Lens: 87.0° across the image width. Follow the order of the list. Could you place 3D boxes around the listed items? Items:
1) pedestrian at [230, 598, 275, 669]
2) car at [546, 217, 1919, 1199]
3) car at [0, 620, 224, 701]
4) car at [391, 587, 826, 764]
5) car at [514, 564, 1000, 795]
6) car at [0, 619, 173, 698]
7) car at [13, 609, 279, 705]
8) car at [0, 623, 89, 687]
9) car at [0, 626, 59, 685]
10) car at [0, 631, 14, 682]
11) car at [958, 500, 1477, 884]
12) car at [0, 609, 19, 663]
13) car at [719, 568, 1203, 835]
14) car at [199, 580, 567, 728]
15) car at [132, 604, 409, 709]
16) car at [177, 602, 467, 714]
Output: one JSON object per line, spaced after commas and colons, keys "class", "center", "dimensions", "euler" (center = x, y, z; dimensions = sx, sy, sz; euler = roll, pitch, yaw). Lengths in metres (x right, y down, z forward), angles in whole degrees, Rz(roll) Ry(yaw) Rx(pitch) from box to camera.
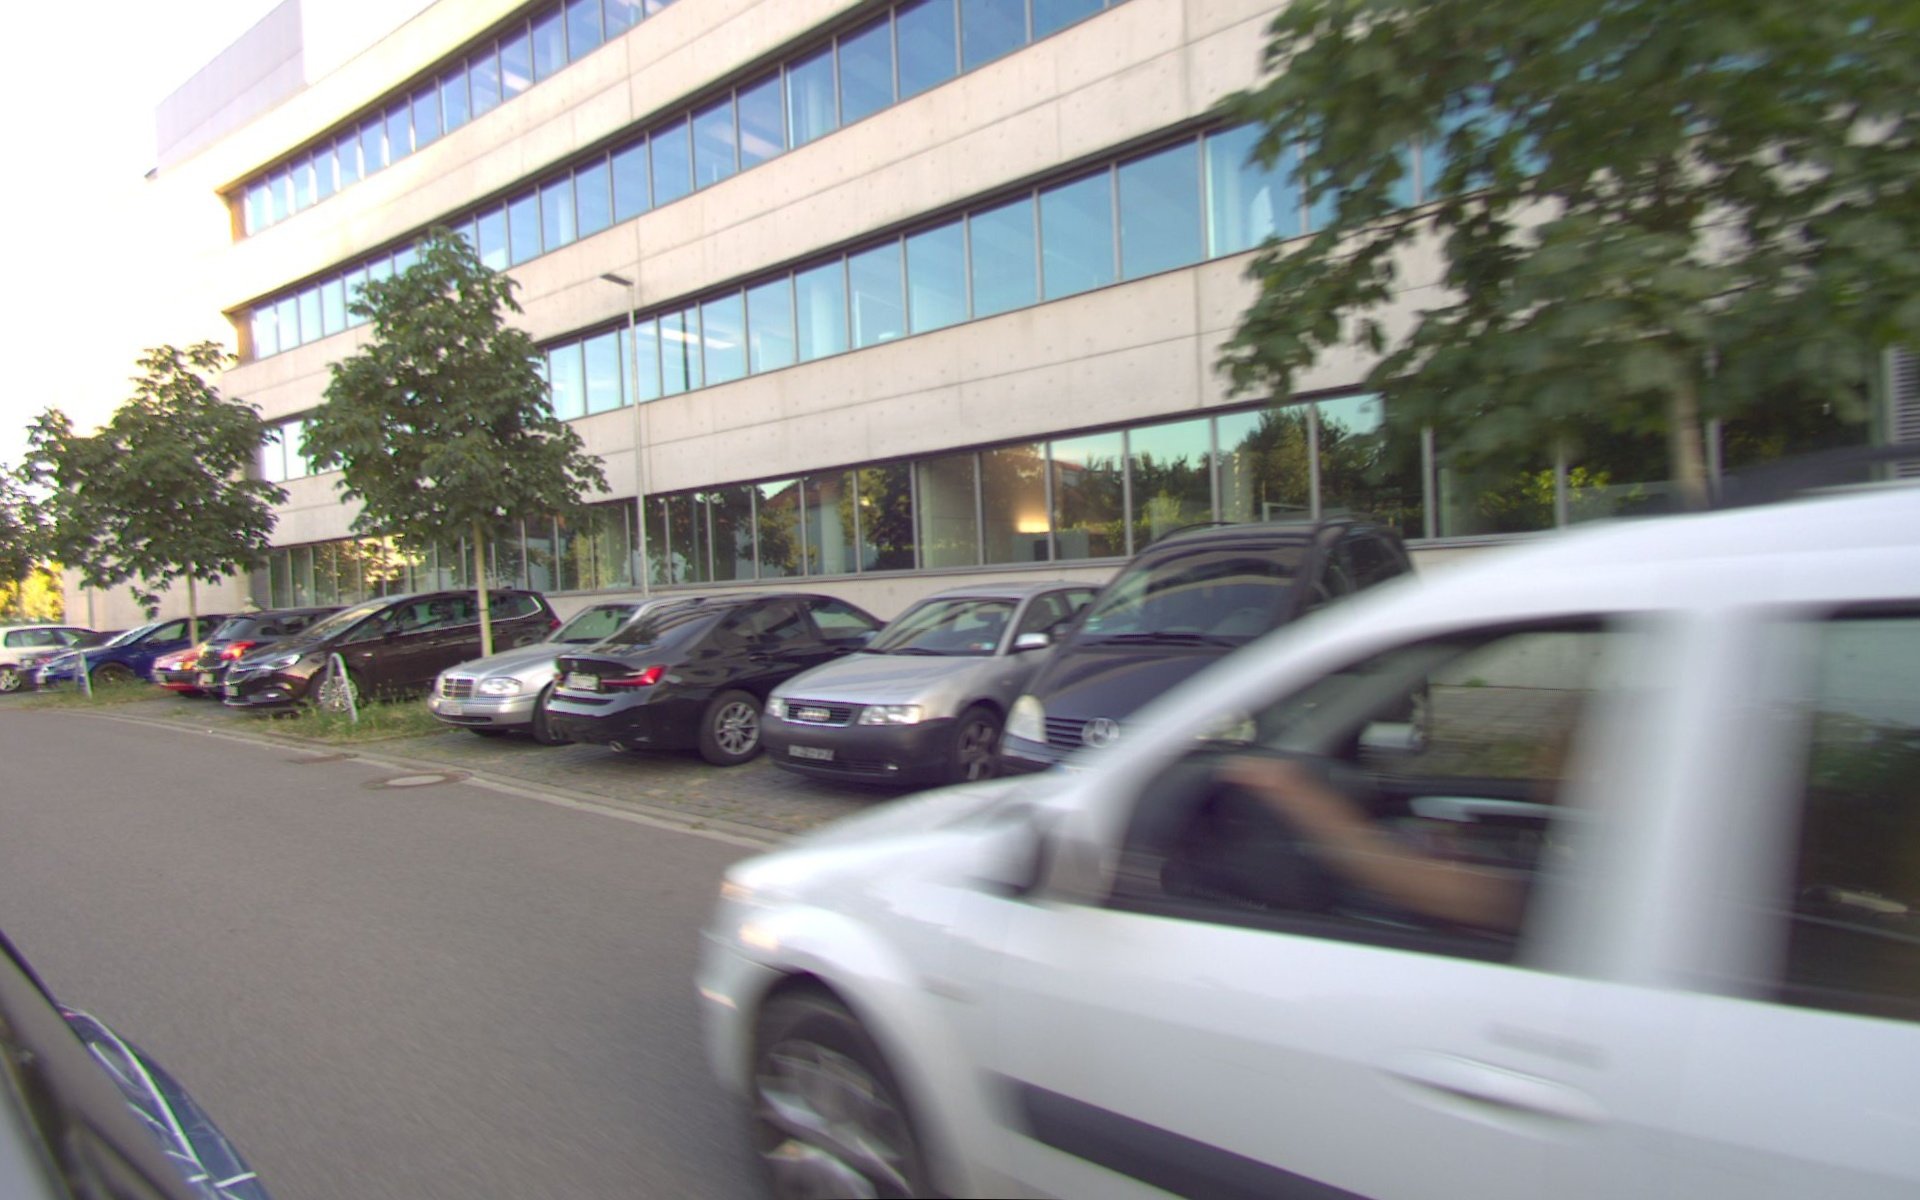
{"class": "pedestrian", "center": [-18.658, 0.884, 26.680], "dimensions": [0.723, 1.797, 0.641], "euler": [-3, 2, 33]}
{"class": "car", "center": [1.430, 0.502, 1.654], "dimensions": [4.718, 1.699, 1.933], "euler": [0, 1, 40]}
{"class": "car", "center": [-18.843, 1.297, 22.482], "dimensions": [1.678, 1.372, 3.611], "euler": [-3, 1, 28]}
{"class": "car", "center": [-3.770, 0.708, 11.575], "dimensions": [1.761, 1.475, 4.391], "euler": [-3, 0, 39]}
{"class": "car", "center": [-1.716, 0.553, 9.796], "dimensions": [1.763, 1.510, 4.351], "euler": [-1, 4, 42]}
{"class": "car", "center": [-21.277, 1.381, 23.809], "dimensions": [1.755, 1.522, 3.956], "euler": [-3, 1, 33]}
{"class": "car", "center": [-16.515, 1.113, 20.715], "dimensions": [1.755, 1.522, 3.840], "euler": [-3, 1, 33]}
{"class": "car", "center": [-25.373, 1.541, 26.151], "dimensions": [1.577, 1.523, 3.976], "euler": [-5, 1, 26]}
{"class": "car", "center": [-27.624, 1.669, 27.646], "dimensions": [1.836, 1.540, 4.064], "euler": [-3, 2, 26]}
{"class": "car", "center": [-30.011, 1.834, 29.077], "dimensions": [1.761, 1.493, 3.713], "euler": [-4, 1, 27]}
{"class": "car", "center": [2.014, 0.278, 6.780], "dimensions": [1.723, 1.755, 4.207], "euler": [-1, 3, 39]}
{"class": "car", "center": [-50.384, 1.999, 49.256], "dimensions": [2.211, 2.692, 6.208], "euler": [-3, 2, 26]}
{"class": "car", "center": [0.268, 0.586, 8.282], "dimensions": [1.723, 1.414, 4.105], "euler": [-1, 3, 39]}
{"class": "car", "center": [-8.301, 0.665, 14.908], "dimensions": [1.894, 1.709, 4.268], "euler": [-2, 2, 38]}
{"class": "car", "center": [-12.154, 0.928, 18.055], "dimensions": [1.707, 1.468, 3.673], "euler": [-2, 2, 34]}
{"class": "car", "center": [-10.451, 0.880, 16.812], "dimensions": [1.675, 1.468, 3.671], "euler": [-2, 2, 35]}
